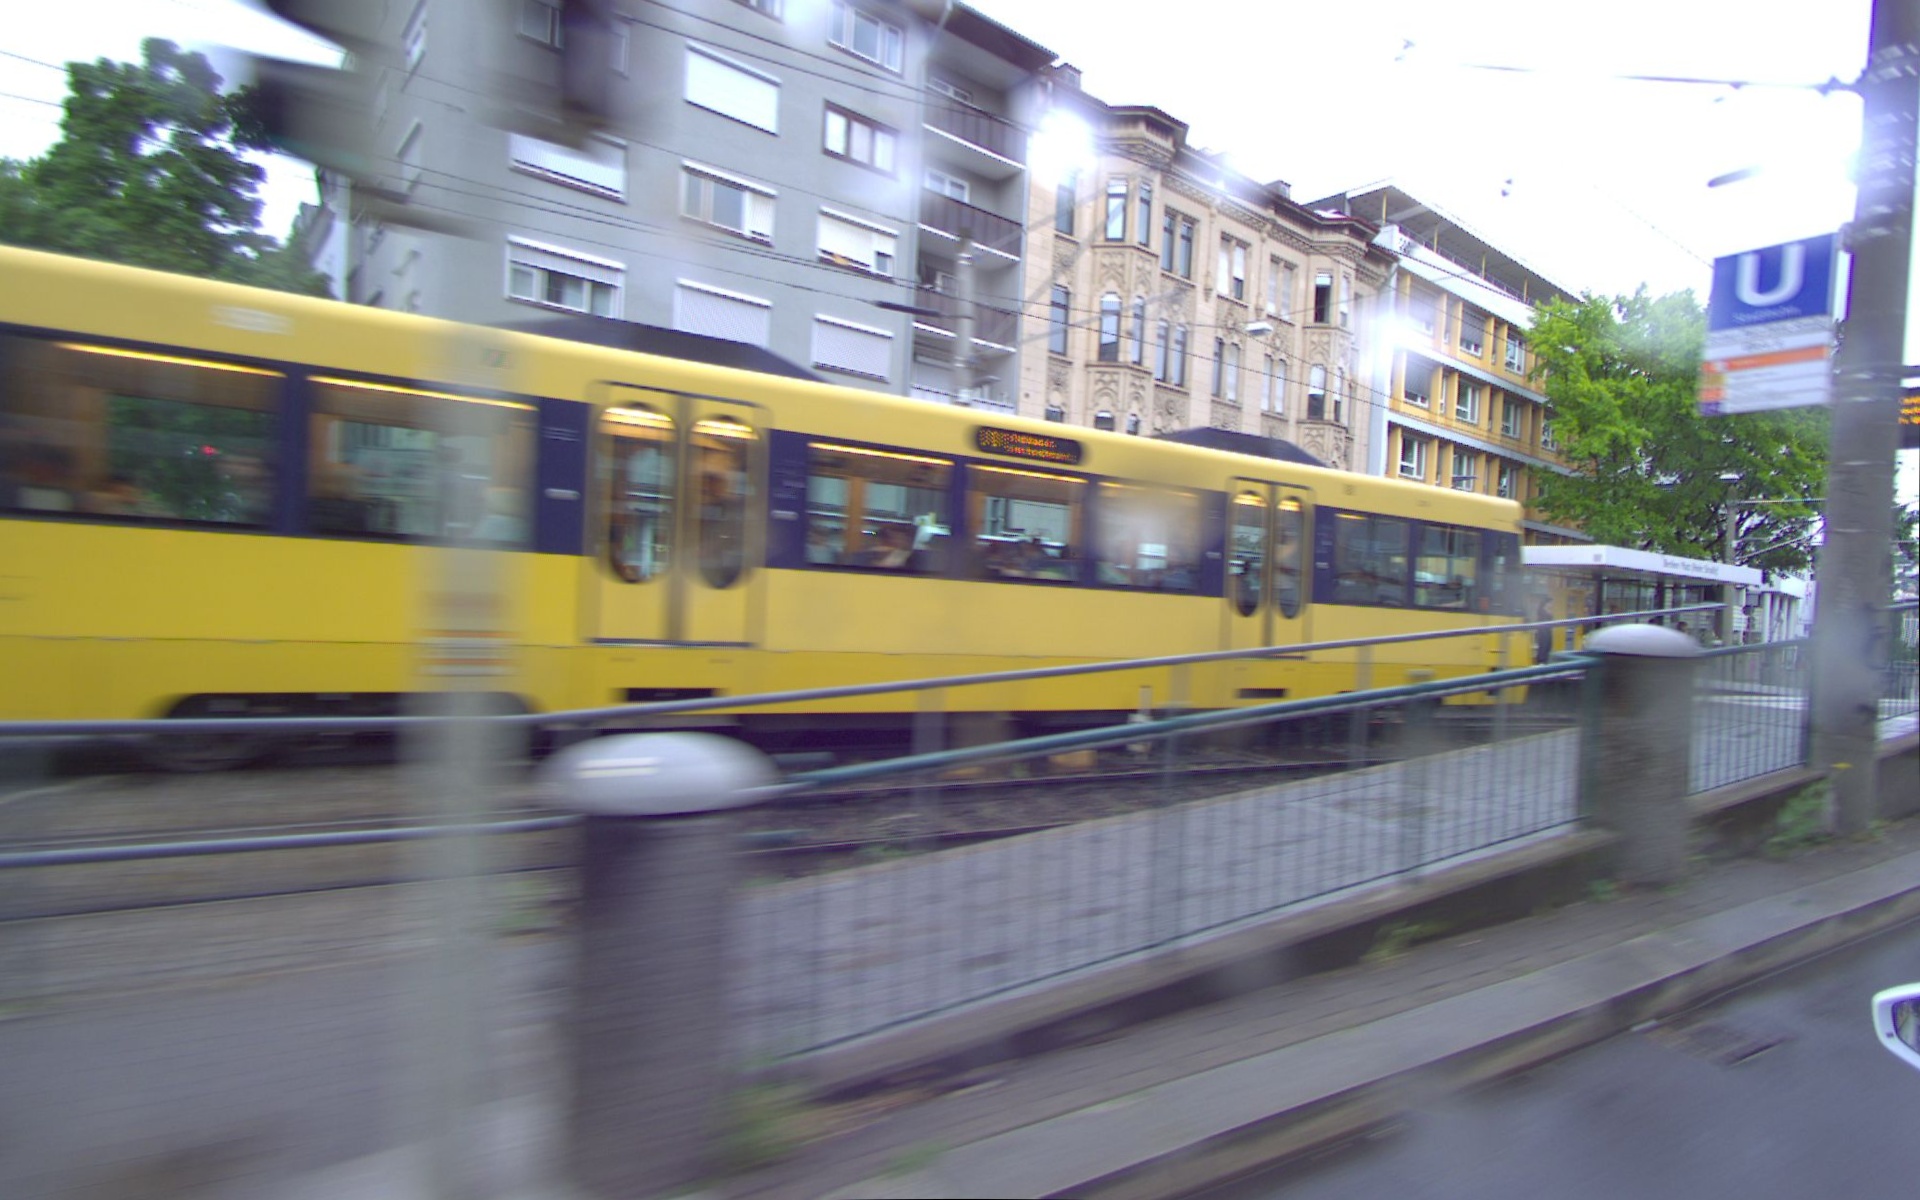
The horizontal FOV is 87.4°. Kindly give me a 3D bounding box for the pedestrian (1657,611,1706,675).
[{"bbox_3d":[19.628,1.183,27.313,0.884,1.669,0.675,2,-6,-29],"label":"pedestrian"}]

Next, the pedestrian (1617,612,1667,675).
[{"bbox_3d":[18.454,1.193,27.177,0.768,1.670,0.769,2,-5,-28],"label":"pedestrian"}]

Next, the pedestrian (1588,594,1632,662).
[{"bbox_3d":[16.367,0.698,25.294,0.674,1.682,0.630,1,1,-29],"label":"pedestrian"}]

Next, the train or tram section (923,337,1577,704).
[{"bbox_3d":[4.379,-0.860,13.886,9.599,3.742,2.765,0,2,-30],"label":"train or tram section"}]

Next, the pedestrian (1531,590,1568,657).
[{"bbox_3d":[14.031,0.559,23.901,0.511,1.558,0.554,2,0,-32],"label":"pedestrian"}]

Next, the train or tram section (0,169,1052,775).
[{"bbox_3d":[-3.835,-0.833,9.058,9.397,3.742,2.765,0,2,-30],"label":"train or tram section"}]

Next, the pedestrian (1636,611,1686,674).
[{"bbox_3d":[19.278,1.179,27.627,0.768,1.670,0.769,2,-5,-28],"label":"pedestrian"}]

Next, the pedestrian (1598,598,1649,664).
[{"bbox_3d":[17.409,0.820,26.362,0.768,1.670,0.769,2,-5,-28],"label":"pedestrian"}]
